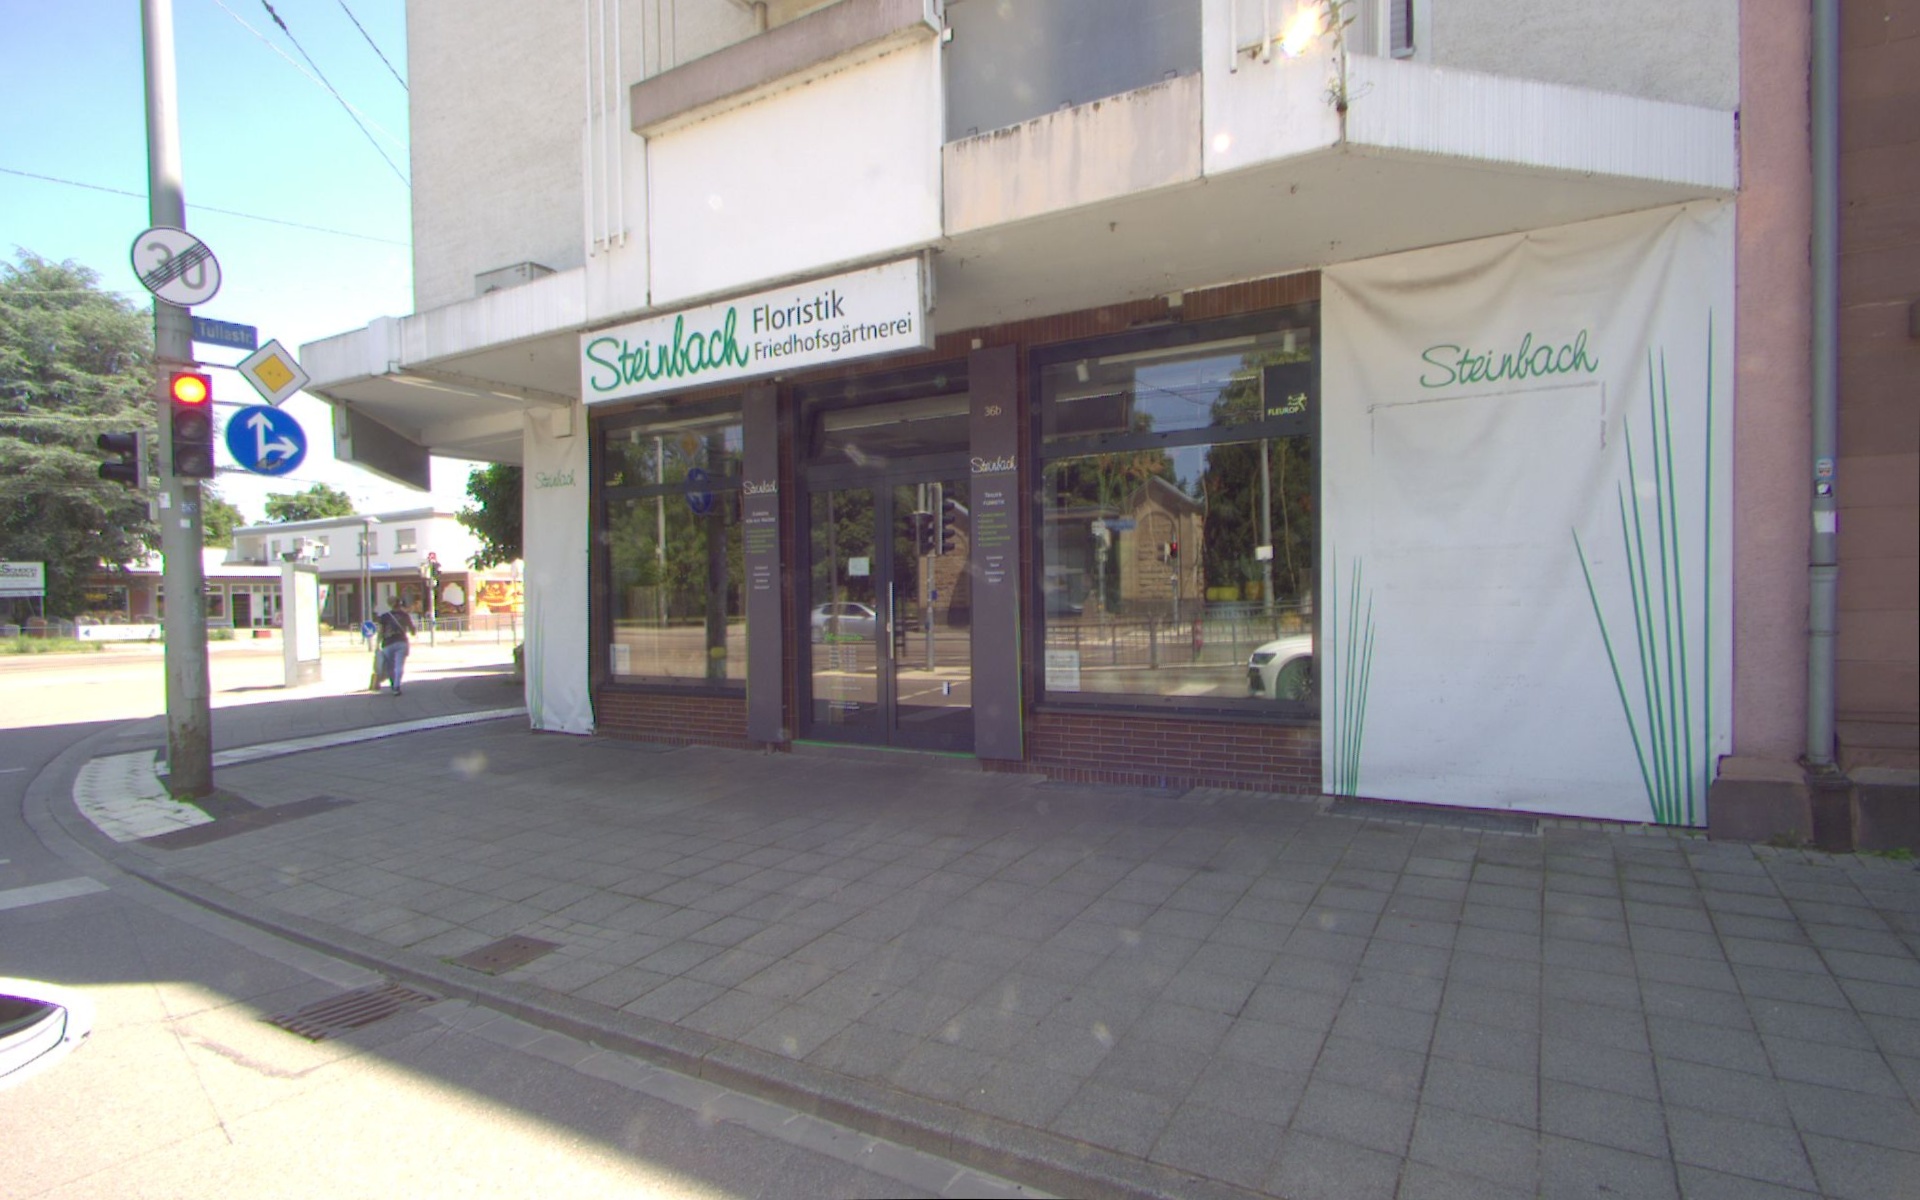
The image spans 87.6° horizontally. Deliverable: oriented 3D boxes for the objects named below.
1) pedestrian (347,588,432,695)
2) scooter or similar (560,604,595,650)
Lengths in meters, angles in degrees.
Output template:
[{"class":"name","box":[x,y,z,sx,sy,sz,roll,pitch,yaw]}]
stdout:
[{"class":"pedestrian","box":[-9.071,0.646,15.940,0.816,1.606,0.822,0,4,38]},{"class":"scooter or similar","box":[-10.479,0.720,27.473,0.387,1.229,1.255,-1,0,5]}]
